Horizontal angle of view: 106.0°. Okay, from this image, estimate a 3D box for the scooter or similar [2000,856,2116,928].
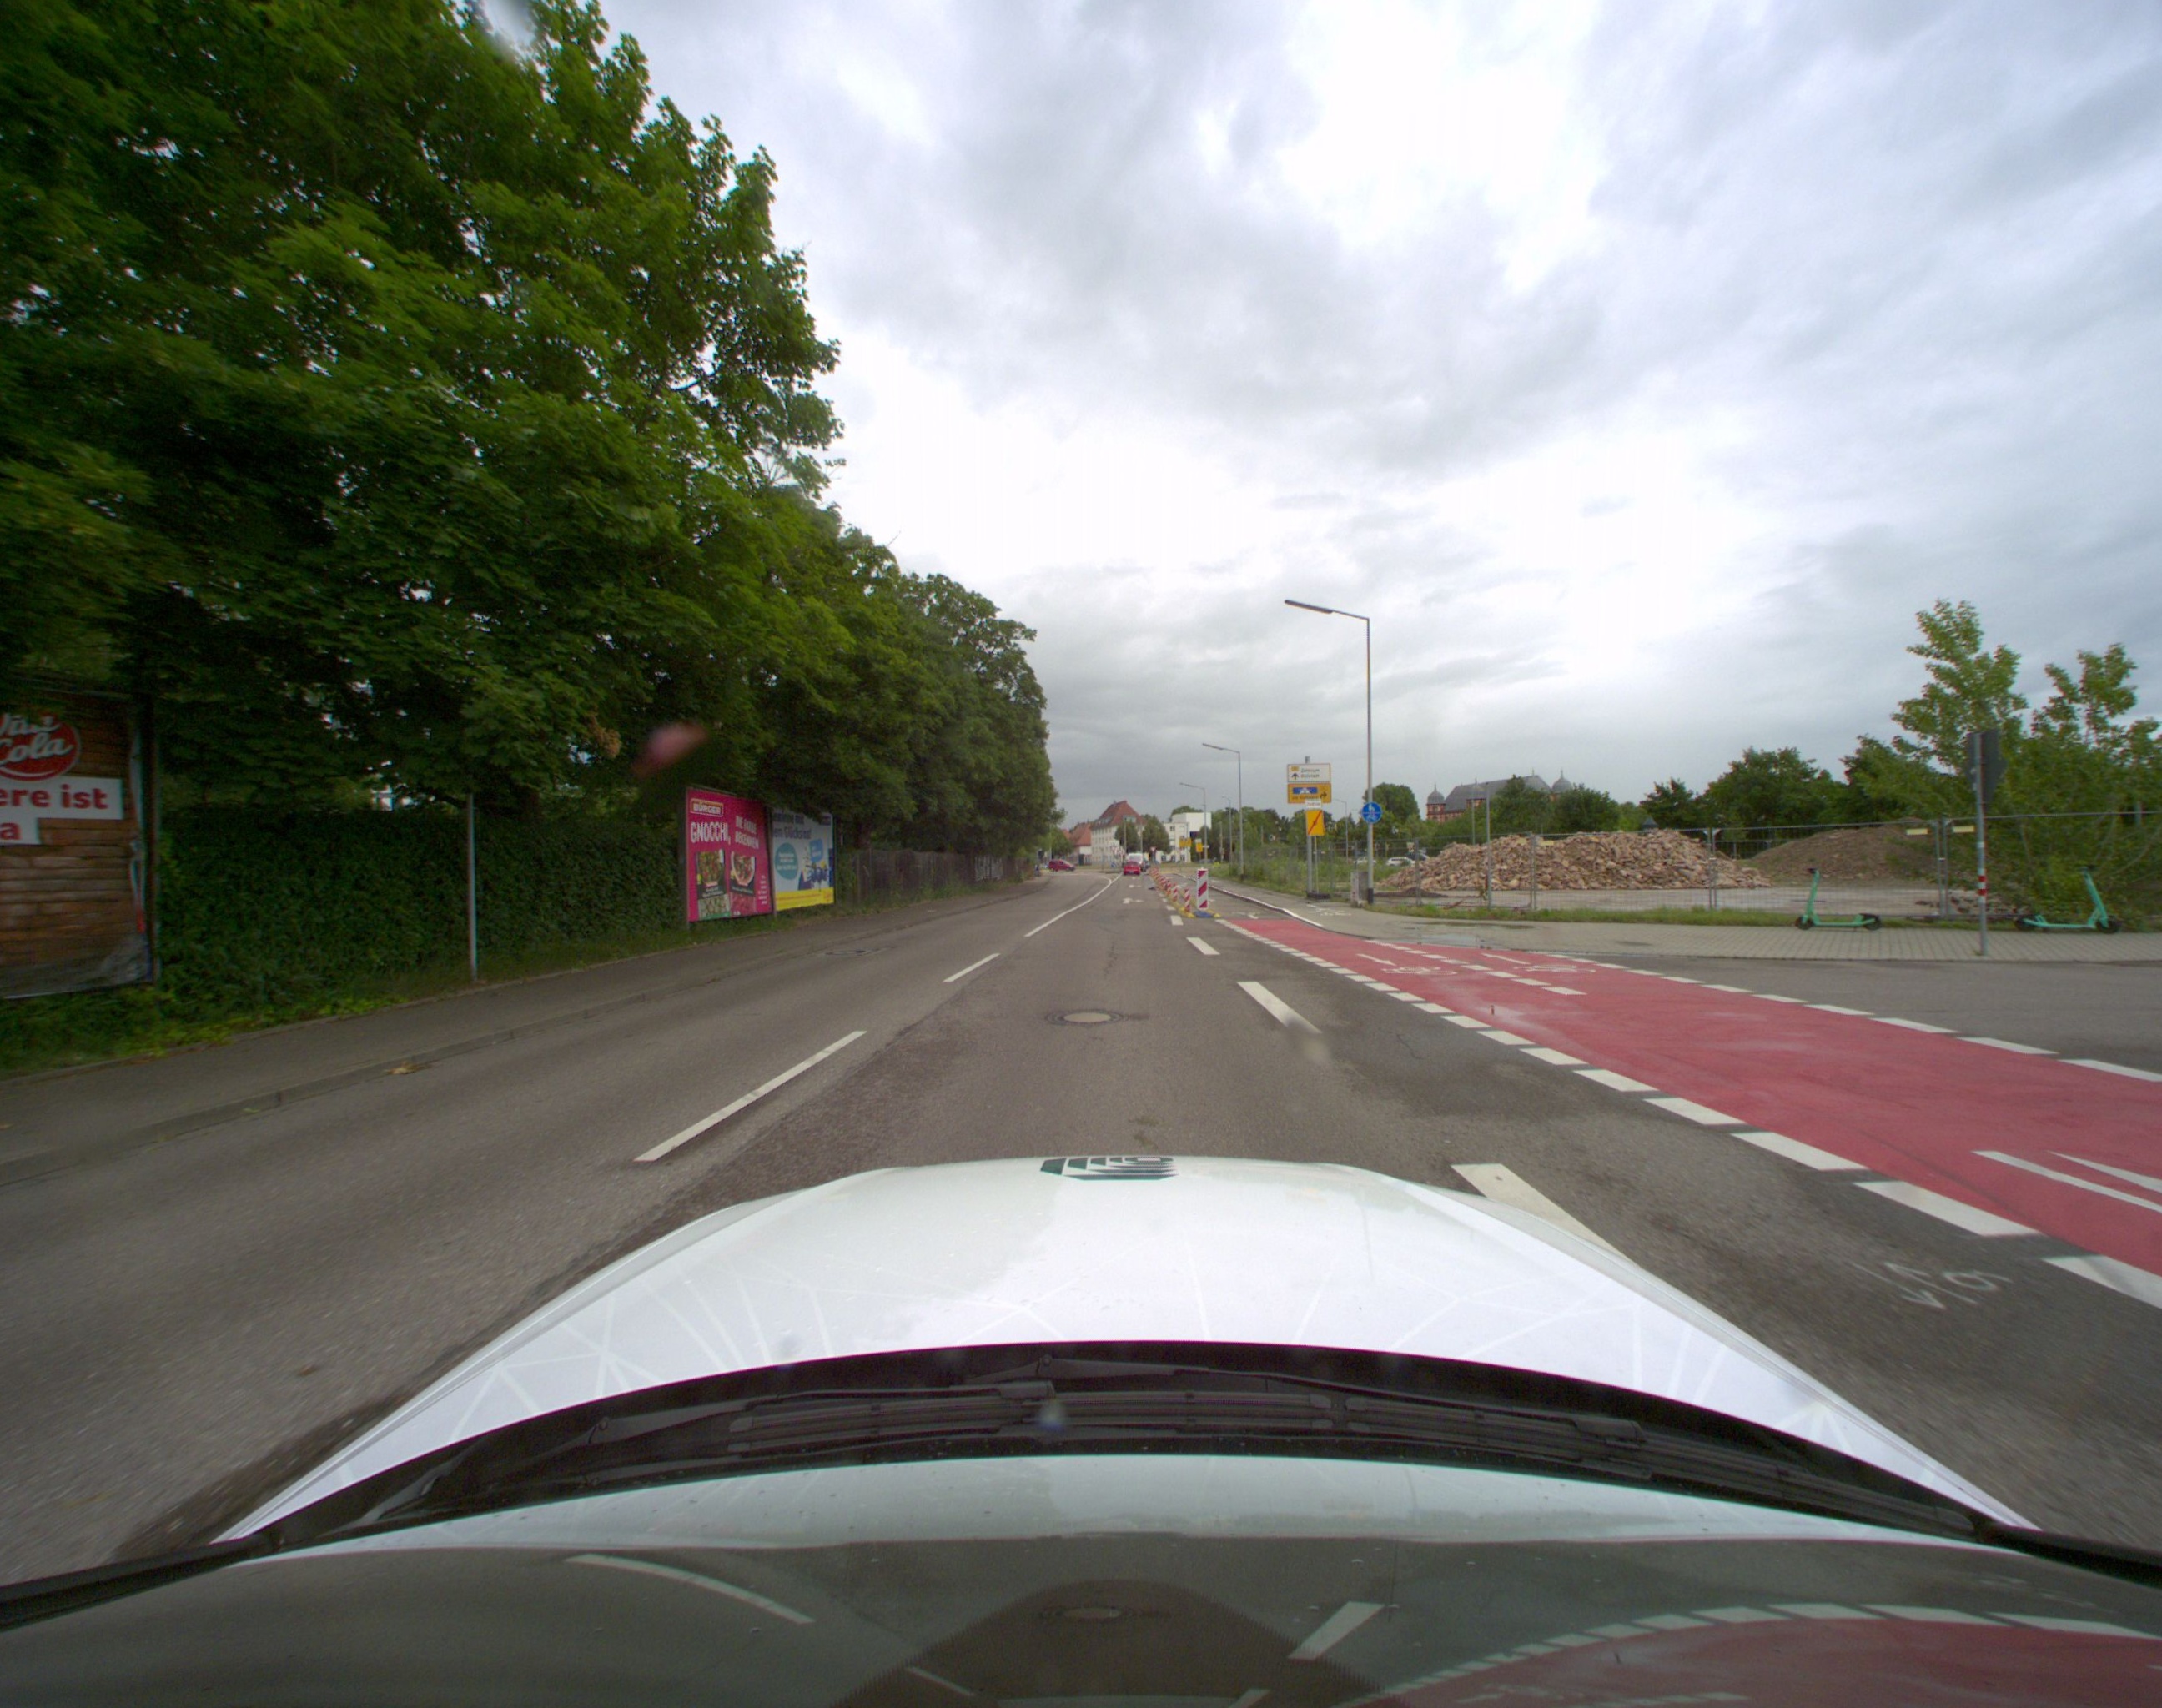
[{"bbox_3d":[16.614,0.645,13.876,1.159,1.185,0.449,-2,-1,29],"label":"scooter or similar"}]

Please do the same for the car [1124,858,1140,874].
[{"bbox_3d":[5.436,1.236,86.436,1.666,1.640,3.631,0,0,4],"label":"car"}]

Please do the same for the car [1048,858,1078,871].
[{"bbox_3d":[-2.779,1.585,127.592,4.164,1.918,2.124,-1,-1,15],"label":"car"}]

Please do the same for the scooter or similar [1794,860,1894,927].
[{"bbox_3d":[14.149,0.728,15.129,1.310,1.185,0.448,-2,-1,44],"label":"scooter or similar"}]

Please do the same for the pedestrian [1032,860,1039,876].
[{"bbox_3d":[-4.538,1.390,81.581,0.610,1.529,0.724,-1,-1,-1],"label":"pedestrian"}]

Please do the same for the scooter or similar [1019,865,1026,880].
[{"bbox_3d":[-4.597,1.472,63.931,0.421,1.170,1.303,-1,-1,-1],"label":"scooter or similar"}]

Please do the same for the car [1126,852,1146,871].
[{"bbox_3d":[7.468,0.978,109.799,2.182,2.540,4.976,0,0,10],"label":"car"}]

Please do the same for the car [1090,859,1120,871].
[{"bbox_3d":[3.887,1.740,131.100,2.127,1.795,4.551,-1,-1,-44],"label":"car"}]

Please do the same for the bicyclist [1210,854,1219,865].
[{"bbox_3d":[17.237,0.732,104.969,1.056,1.401,0.616,-1,-1,6],"label":"bicyclist"}]

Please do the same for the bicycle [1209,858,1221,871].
[{"bbox_3d":[17.282,1.327,104.962,1.469,1.612,0.607,-1,-1,6],"label":"bicycle"}]
